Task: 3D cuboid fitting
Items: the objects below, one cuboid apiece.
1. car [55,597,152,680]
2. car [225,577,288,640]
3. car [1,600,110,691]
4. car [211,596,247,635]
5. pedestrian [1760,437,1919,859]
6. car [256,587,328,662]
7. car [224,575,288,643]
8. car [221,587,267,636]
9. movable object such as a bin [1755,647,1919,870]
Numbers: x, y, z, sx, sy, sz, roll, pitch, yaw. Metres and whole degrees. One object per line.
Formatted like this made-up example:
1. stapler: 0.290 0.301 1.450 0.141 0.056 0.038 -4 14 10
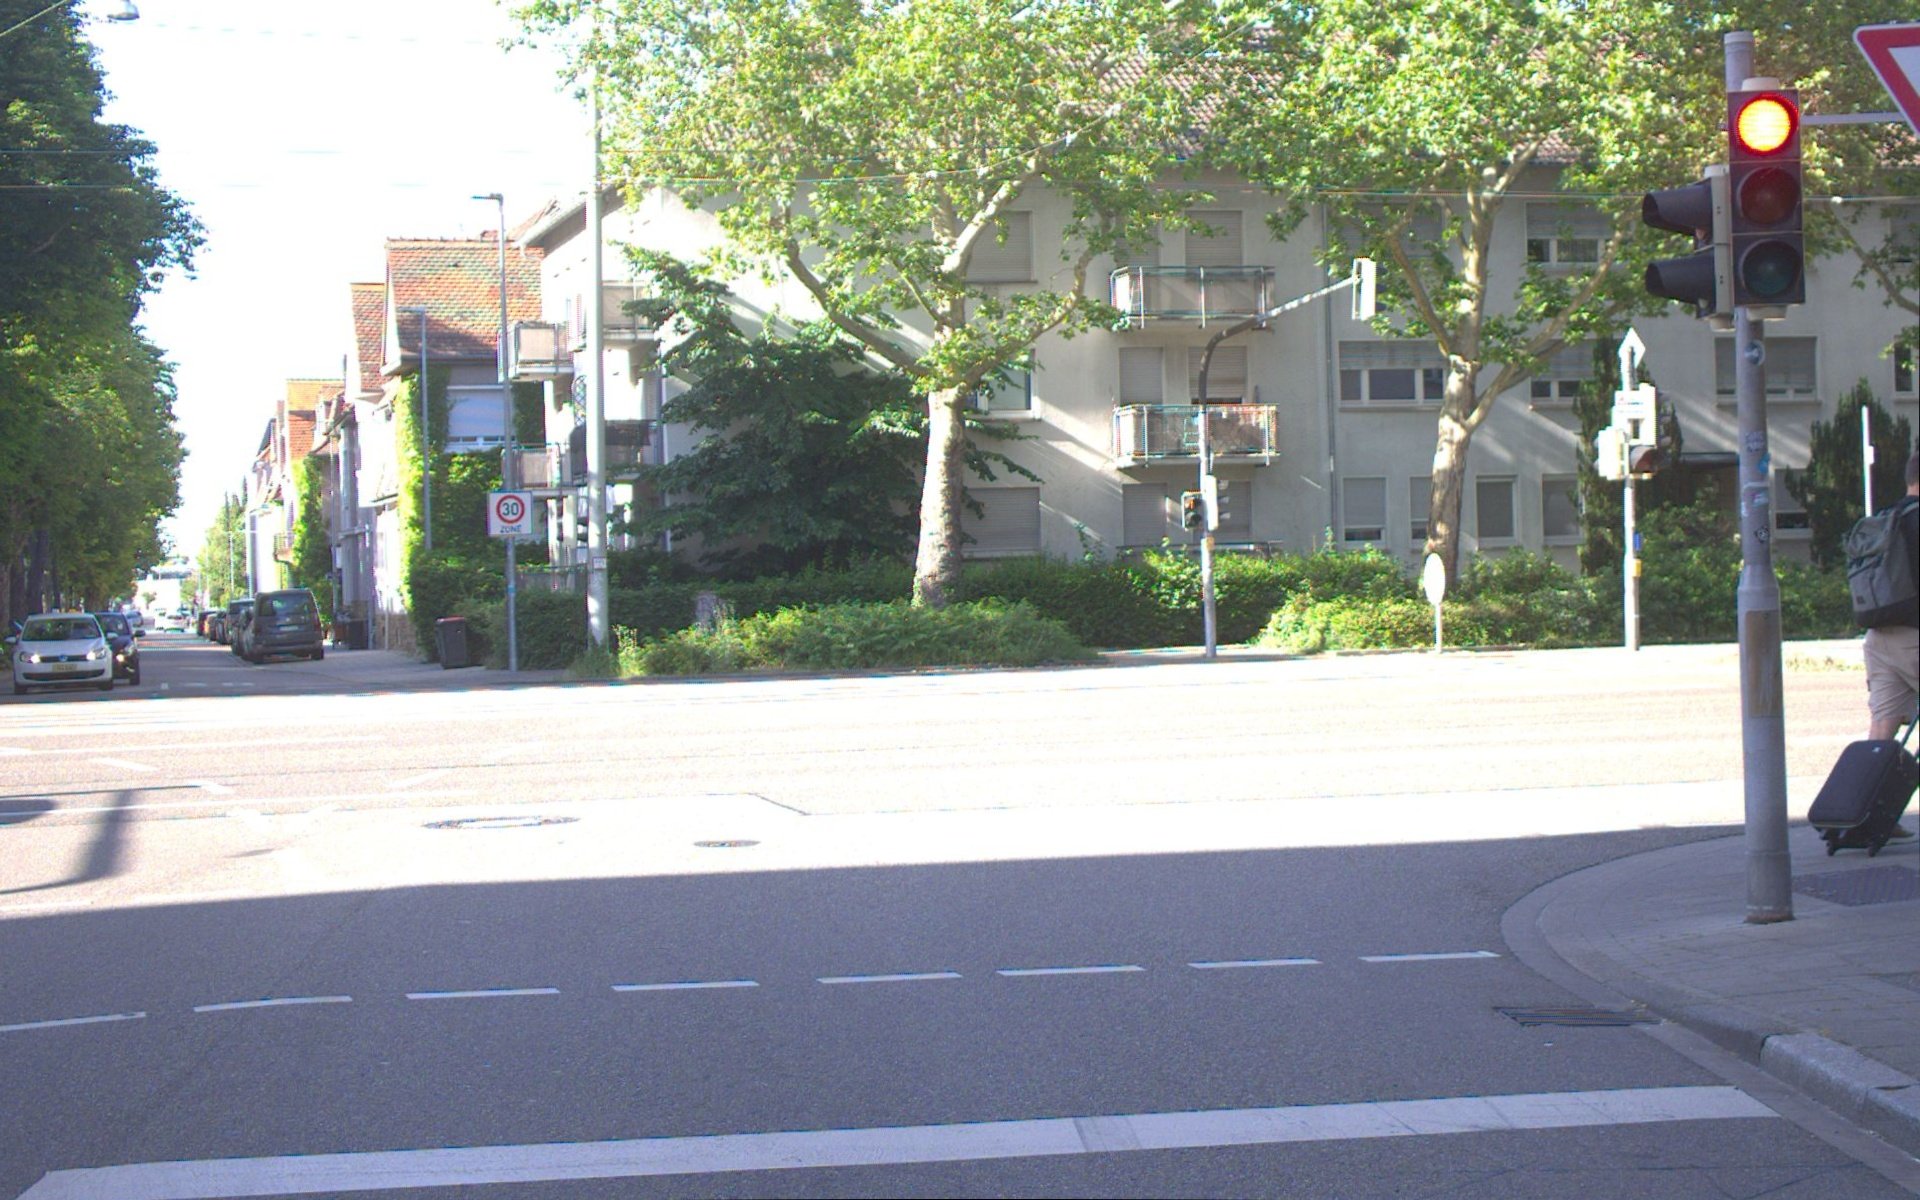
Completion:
1. car: -17.224 0.750 69.221 1.698 1.478 3.535 -3 1 -12
2. car: -23.557 0.269 115.154 1.993 2.007 4.001 1 1 -11
3. car: -16.640 0.813 63.361 1.698 1.478 3.535 -3 1 -12
4. car: -38.450 0.806 180.826 1.772 1.912 3.535 -3 1 -12
5. pedestrian: 4.396 0.183 15.741 1.065 1.842 0.749 -5 2 -18
6. car: -18.380 0.654 94.532 1.772 1.912 3.535 -3 1 -12
7. car: -21.443 0.262 104.647 1.772 1.912 3.535 -3 1 -12
8. car: -30.517 0.479 146.443 1.772 1.912 3.535 -3 1 -12
9. movable object such as a bin: 4.030 0.684 15.103 0.862 0.889 0.509 -4 1 -13
